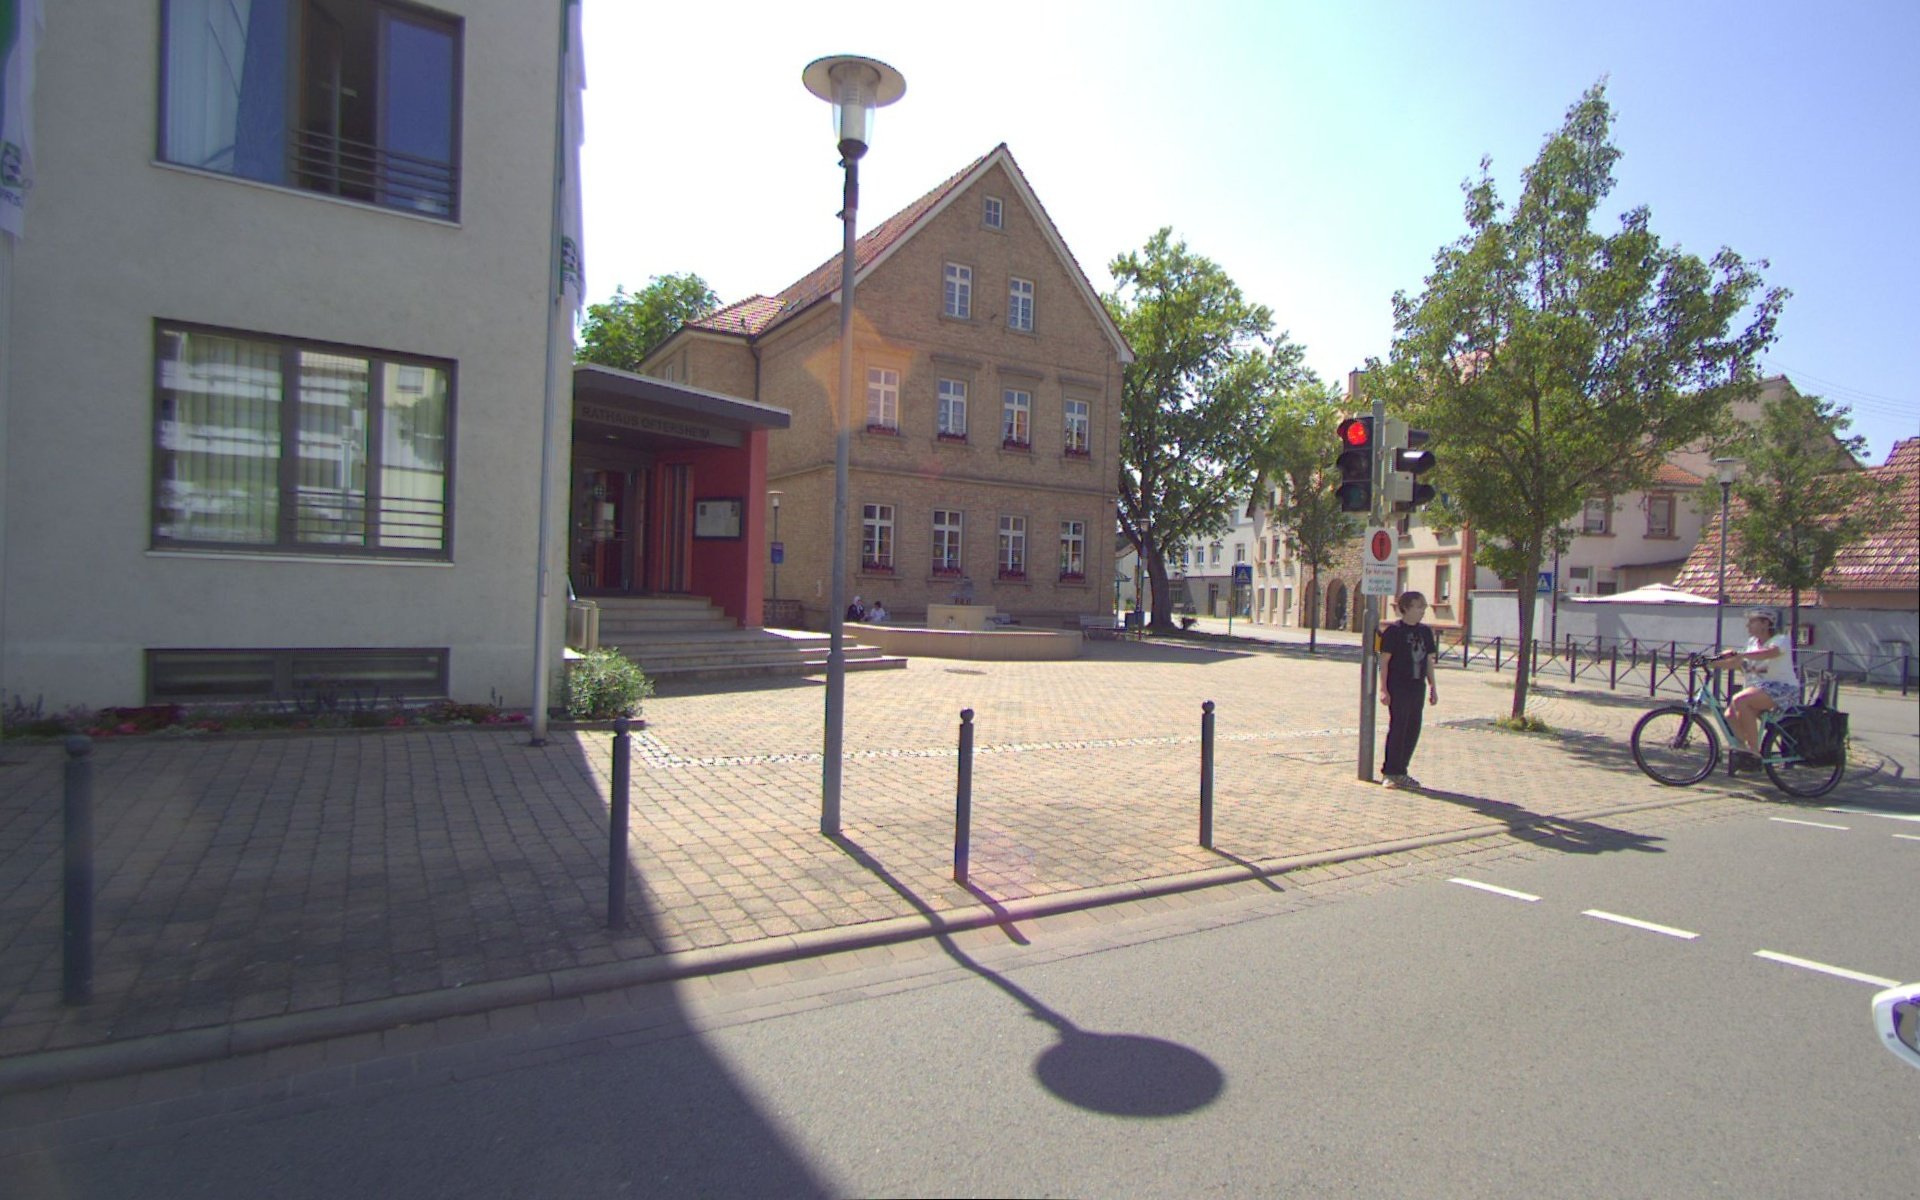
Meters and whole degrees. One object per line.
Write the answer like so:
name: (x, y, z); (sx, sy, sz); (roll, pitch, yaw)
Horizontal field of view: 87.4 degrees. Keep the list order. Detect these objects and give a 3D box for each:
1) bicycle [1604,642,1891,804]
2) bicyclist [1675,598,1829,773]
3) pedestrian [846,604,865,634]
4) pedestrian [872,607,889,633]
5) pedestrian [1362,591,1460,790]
bicycle: (7.212, 1.102, 9.289); (1.932, 1.269, 0.711); (3, 2, 8)
bicyclist: (7.327, 0.772, 9.326); (0.853, 1.526, 0.717); (2, -1, 4)
pedestrian: (-2.944, 0.541, 28.396); (0.356, 0.828, 0.365); (2, 0, 42)
pedestrian: (-2.290, 0.576, 28.891); (0.352, 0.742, 0.288); (2, 0, 43)
pedestrian: (3.895, 0.759, 8.703); (0.546, 1.640, 0.550); (3, 0, 4)
